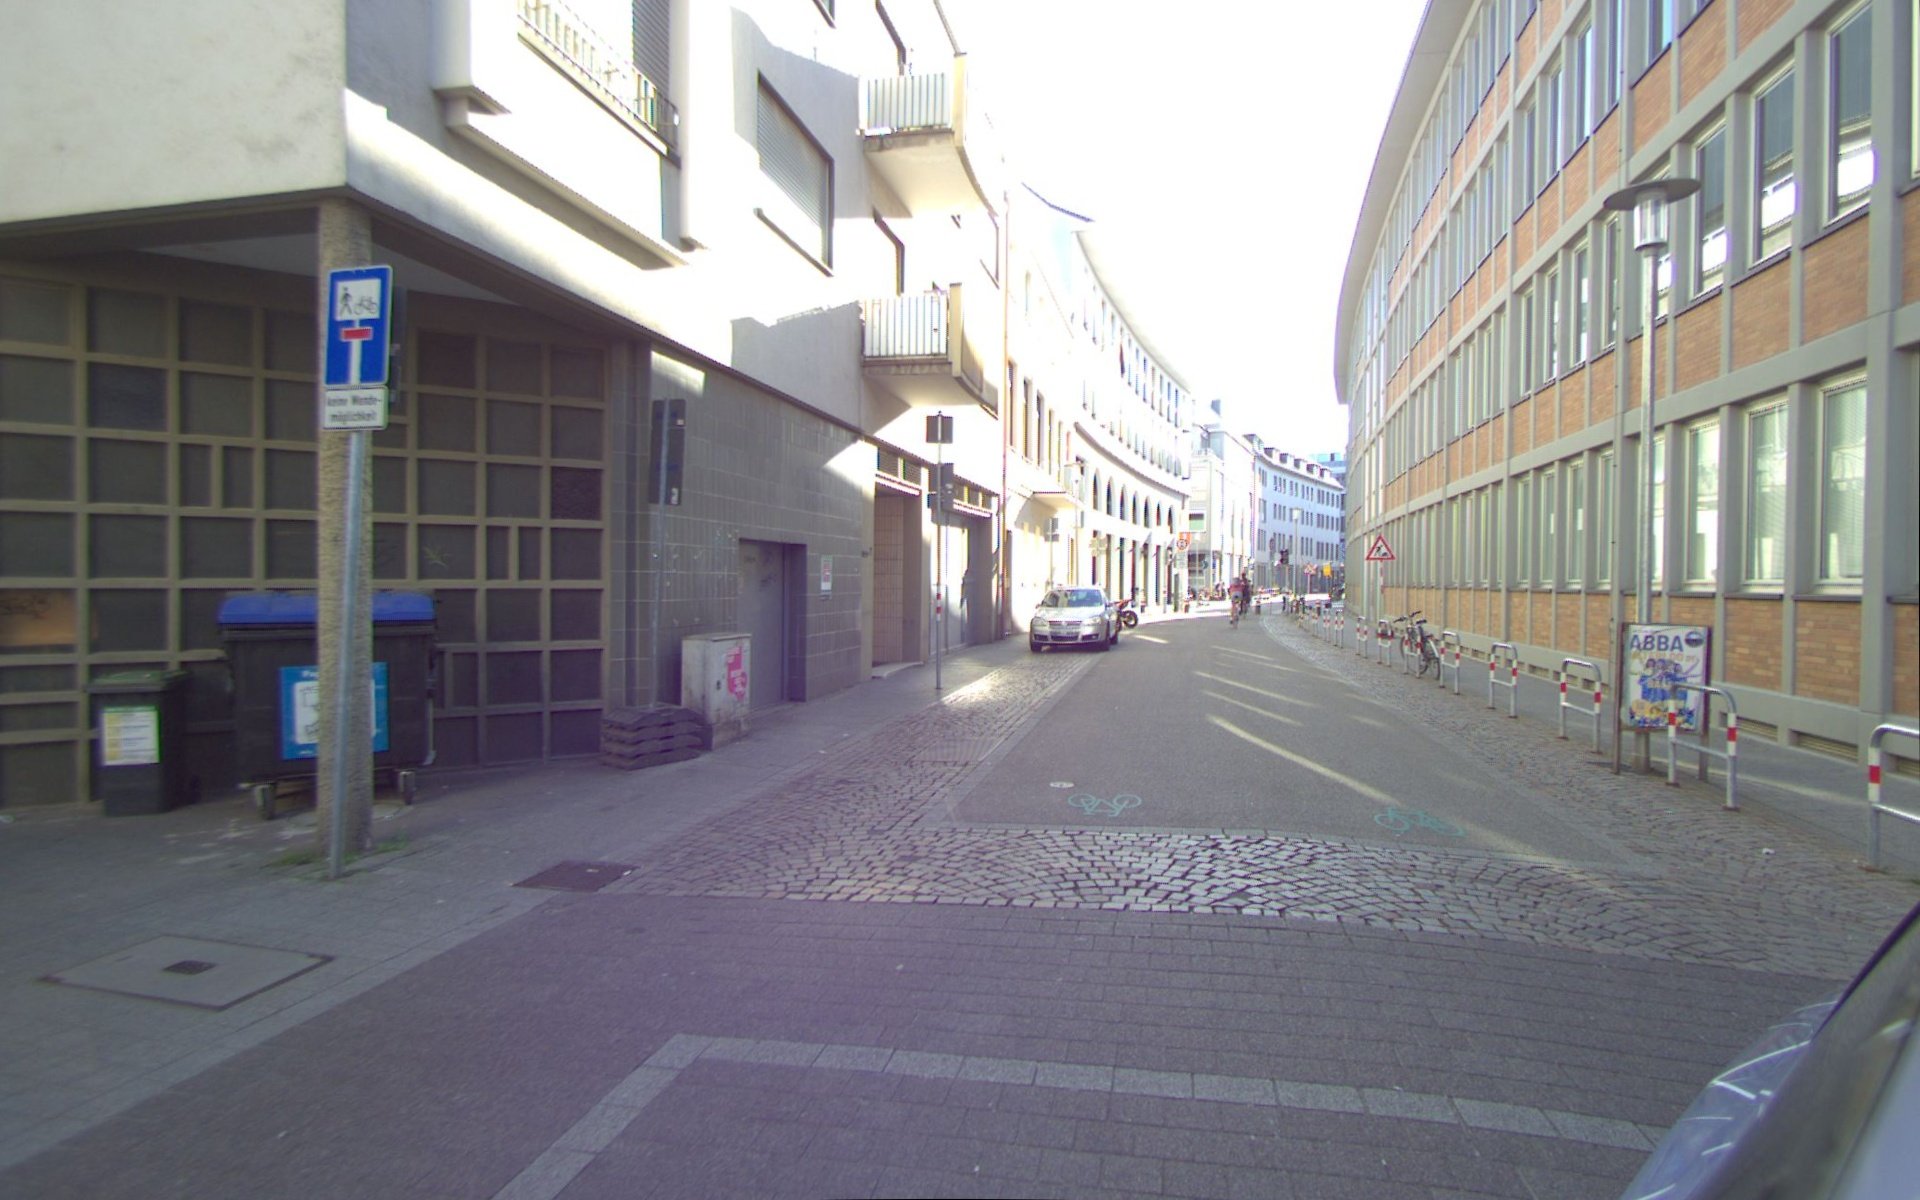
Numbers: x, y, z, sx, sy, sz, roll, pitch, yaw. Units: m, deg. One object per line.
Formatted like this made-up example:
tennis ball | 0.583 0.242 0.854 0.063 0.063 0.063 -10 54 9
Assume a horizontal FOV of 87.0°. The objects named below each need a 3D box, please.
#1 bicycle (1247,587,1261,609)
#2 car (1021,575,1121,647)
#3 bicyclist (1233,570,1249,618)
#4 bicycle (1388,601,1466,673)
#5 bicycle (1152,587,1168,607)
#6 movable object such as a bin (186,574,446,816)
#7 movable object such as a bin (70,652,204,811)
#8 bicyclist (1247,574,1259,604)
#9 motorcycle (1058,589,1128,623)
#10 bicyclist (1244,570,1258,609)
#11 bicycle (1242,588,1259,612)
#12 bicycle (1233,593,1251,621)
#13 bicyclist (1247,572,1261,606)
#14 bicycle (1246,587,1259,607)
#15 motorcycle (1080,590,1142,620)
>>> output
bicycle | 13.390 -0.098 46.069 0.570 0.973 1.710 0 1 19
car | 2.633 0.191 23.288 1.820 1.479 3.984 -1 1 13
bicyclist | 9.112 -0.201 32.813 0.466 1.522 0.791 0 1 16
bicycle | 7.694 0.582 16.763 0.617 1.067 1.820 0 1 6
bicycle | 10.104 -0.181 51.164 0.570 0.973 1.710 0 1 19
movable object such as a bin | -4.382 0.559 7.022 1.406 1.481 1.130 -1 1 -29
movable object such as a bin | -5.465 0.847 6.755 0.585 0.938 0.608 -1 1 -29
bicyclist | 15.393 -0.582 53.227 0.574 1.594 0.687 0 1 20
motorcycle | 3.979 0.177 30.359 1.980 0.967 0.639 1 1 27
bicyclist | 11.992 -0.450 41.705 0.573 1.594 0.688 0 0 18
bicycle | 11.927 -0.010 41.522 0.570 0.973 1.710 0 1 19
bicycle | 9.208 0.232 33.021 0.518 0.859 1.482 0 1 18
bicyclist | 13.379 -0.520 46.090 0.570 1.552 0.811 0 1 19
bicycle | 15.379 -0.174 53.160 0.615 0.973 1.710 0 1 19
motorcycle | 5.080 0.158 34.095 1.980 0.967 0.639 1 1 27
